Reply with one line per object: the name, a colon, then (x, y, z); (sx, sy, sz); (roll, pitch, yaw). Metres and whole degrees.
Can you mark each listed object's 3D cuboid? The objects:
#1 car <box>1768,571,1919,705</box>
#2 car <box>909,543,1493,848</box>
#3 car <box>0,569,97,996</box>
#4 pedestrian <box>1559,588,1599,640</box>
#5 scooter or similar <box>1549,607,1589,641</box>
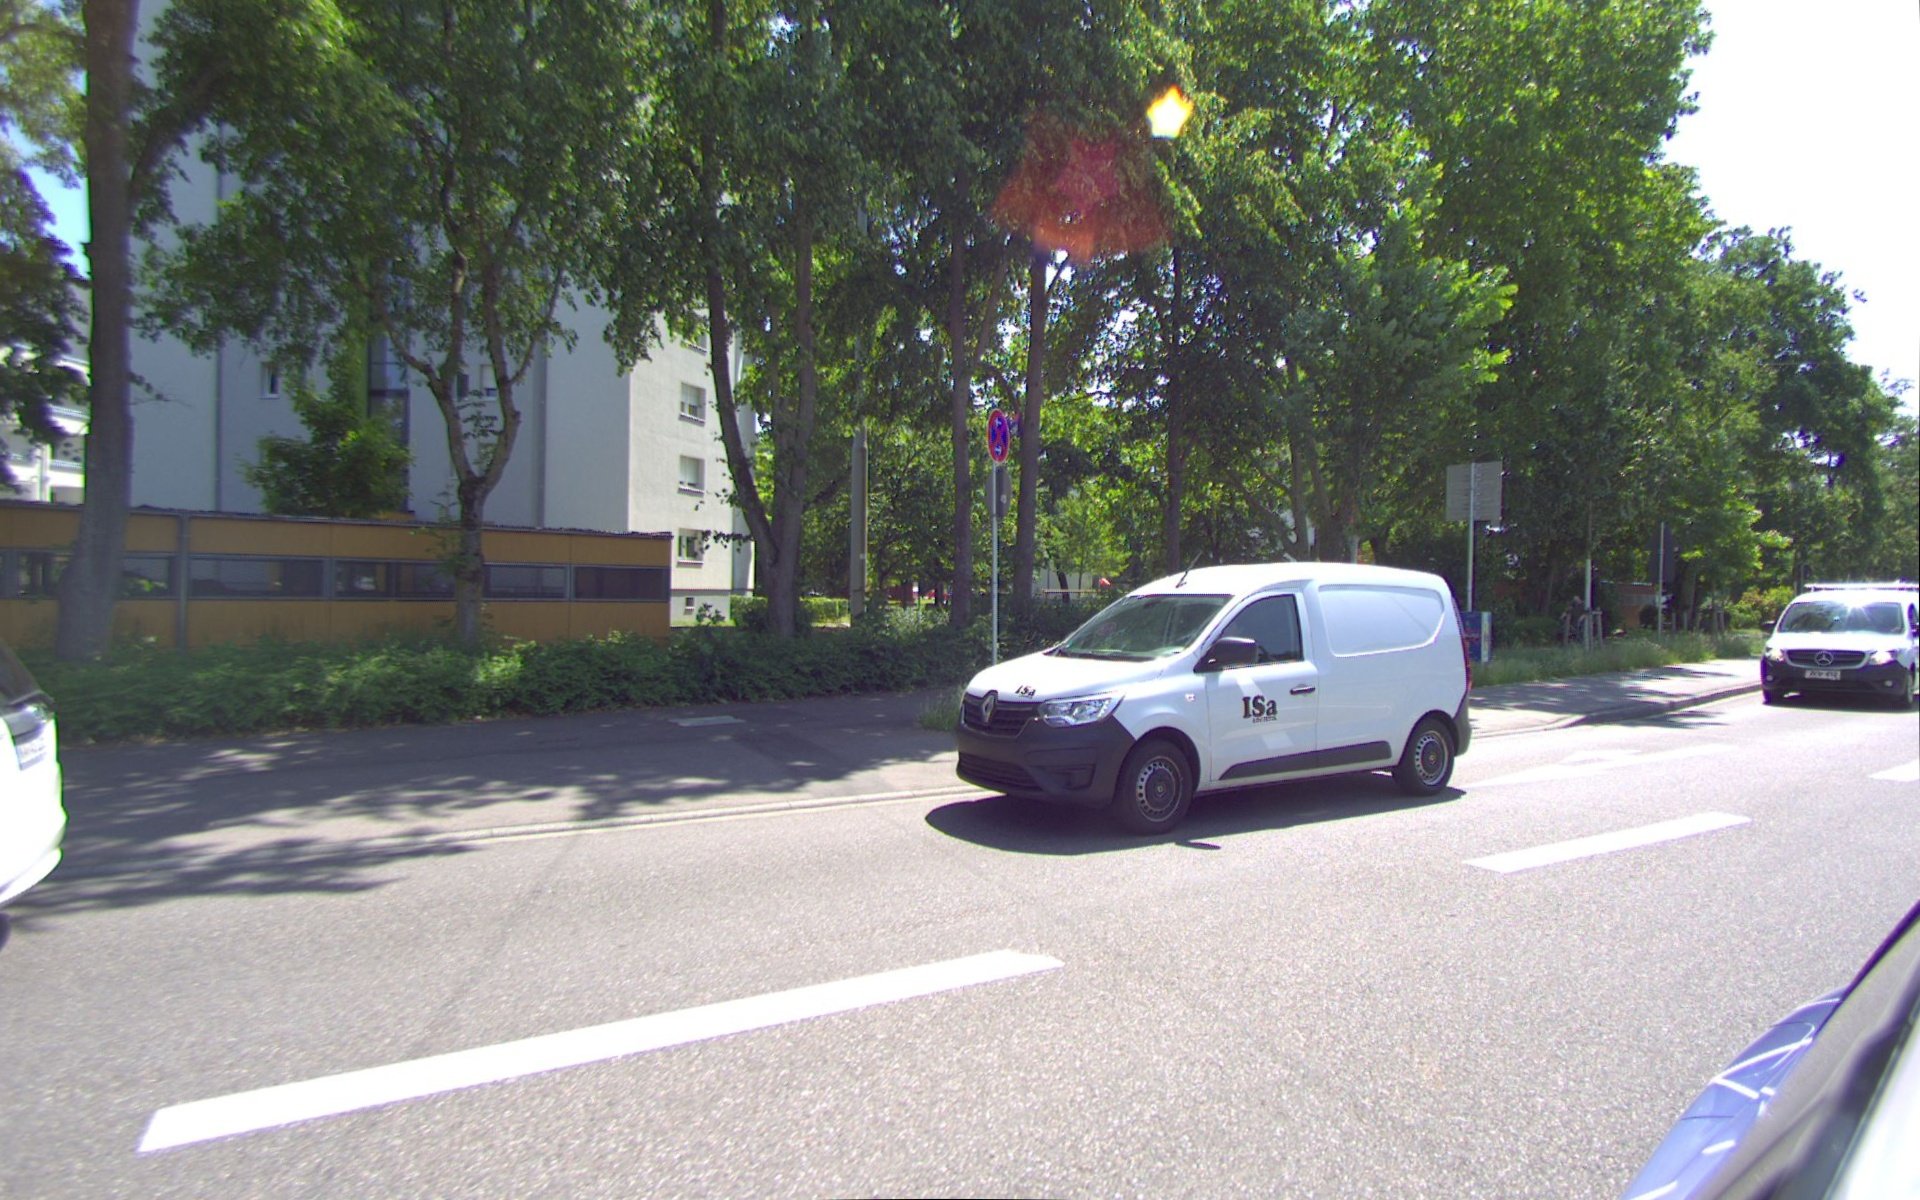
car: (14.787, 0.537, 16.431); (4.995, 1.879, 1.807); (0, -1, -42)
car: (1.932, 0.552, 7.710); (4.339, 1.769, 1.716); (0, -1, -30)
car: (-5.448, 0.657, 3.281); (3.802, 1.507, 1.727); (0, -1, -33)
pedestrian: (17.307, 0.390, 28.300); (0.749, 1.416, 0.709); (0, -1, -39)
scooter or similar: (16.757, 0.647, 27.851); (0.749, 0.904, 0.709); (0, -1, -39)
